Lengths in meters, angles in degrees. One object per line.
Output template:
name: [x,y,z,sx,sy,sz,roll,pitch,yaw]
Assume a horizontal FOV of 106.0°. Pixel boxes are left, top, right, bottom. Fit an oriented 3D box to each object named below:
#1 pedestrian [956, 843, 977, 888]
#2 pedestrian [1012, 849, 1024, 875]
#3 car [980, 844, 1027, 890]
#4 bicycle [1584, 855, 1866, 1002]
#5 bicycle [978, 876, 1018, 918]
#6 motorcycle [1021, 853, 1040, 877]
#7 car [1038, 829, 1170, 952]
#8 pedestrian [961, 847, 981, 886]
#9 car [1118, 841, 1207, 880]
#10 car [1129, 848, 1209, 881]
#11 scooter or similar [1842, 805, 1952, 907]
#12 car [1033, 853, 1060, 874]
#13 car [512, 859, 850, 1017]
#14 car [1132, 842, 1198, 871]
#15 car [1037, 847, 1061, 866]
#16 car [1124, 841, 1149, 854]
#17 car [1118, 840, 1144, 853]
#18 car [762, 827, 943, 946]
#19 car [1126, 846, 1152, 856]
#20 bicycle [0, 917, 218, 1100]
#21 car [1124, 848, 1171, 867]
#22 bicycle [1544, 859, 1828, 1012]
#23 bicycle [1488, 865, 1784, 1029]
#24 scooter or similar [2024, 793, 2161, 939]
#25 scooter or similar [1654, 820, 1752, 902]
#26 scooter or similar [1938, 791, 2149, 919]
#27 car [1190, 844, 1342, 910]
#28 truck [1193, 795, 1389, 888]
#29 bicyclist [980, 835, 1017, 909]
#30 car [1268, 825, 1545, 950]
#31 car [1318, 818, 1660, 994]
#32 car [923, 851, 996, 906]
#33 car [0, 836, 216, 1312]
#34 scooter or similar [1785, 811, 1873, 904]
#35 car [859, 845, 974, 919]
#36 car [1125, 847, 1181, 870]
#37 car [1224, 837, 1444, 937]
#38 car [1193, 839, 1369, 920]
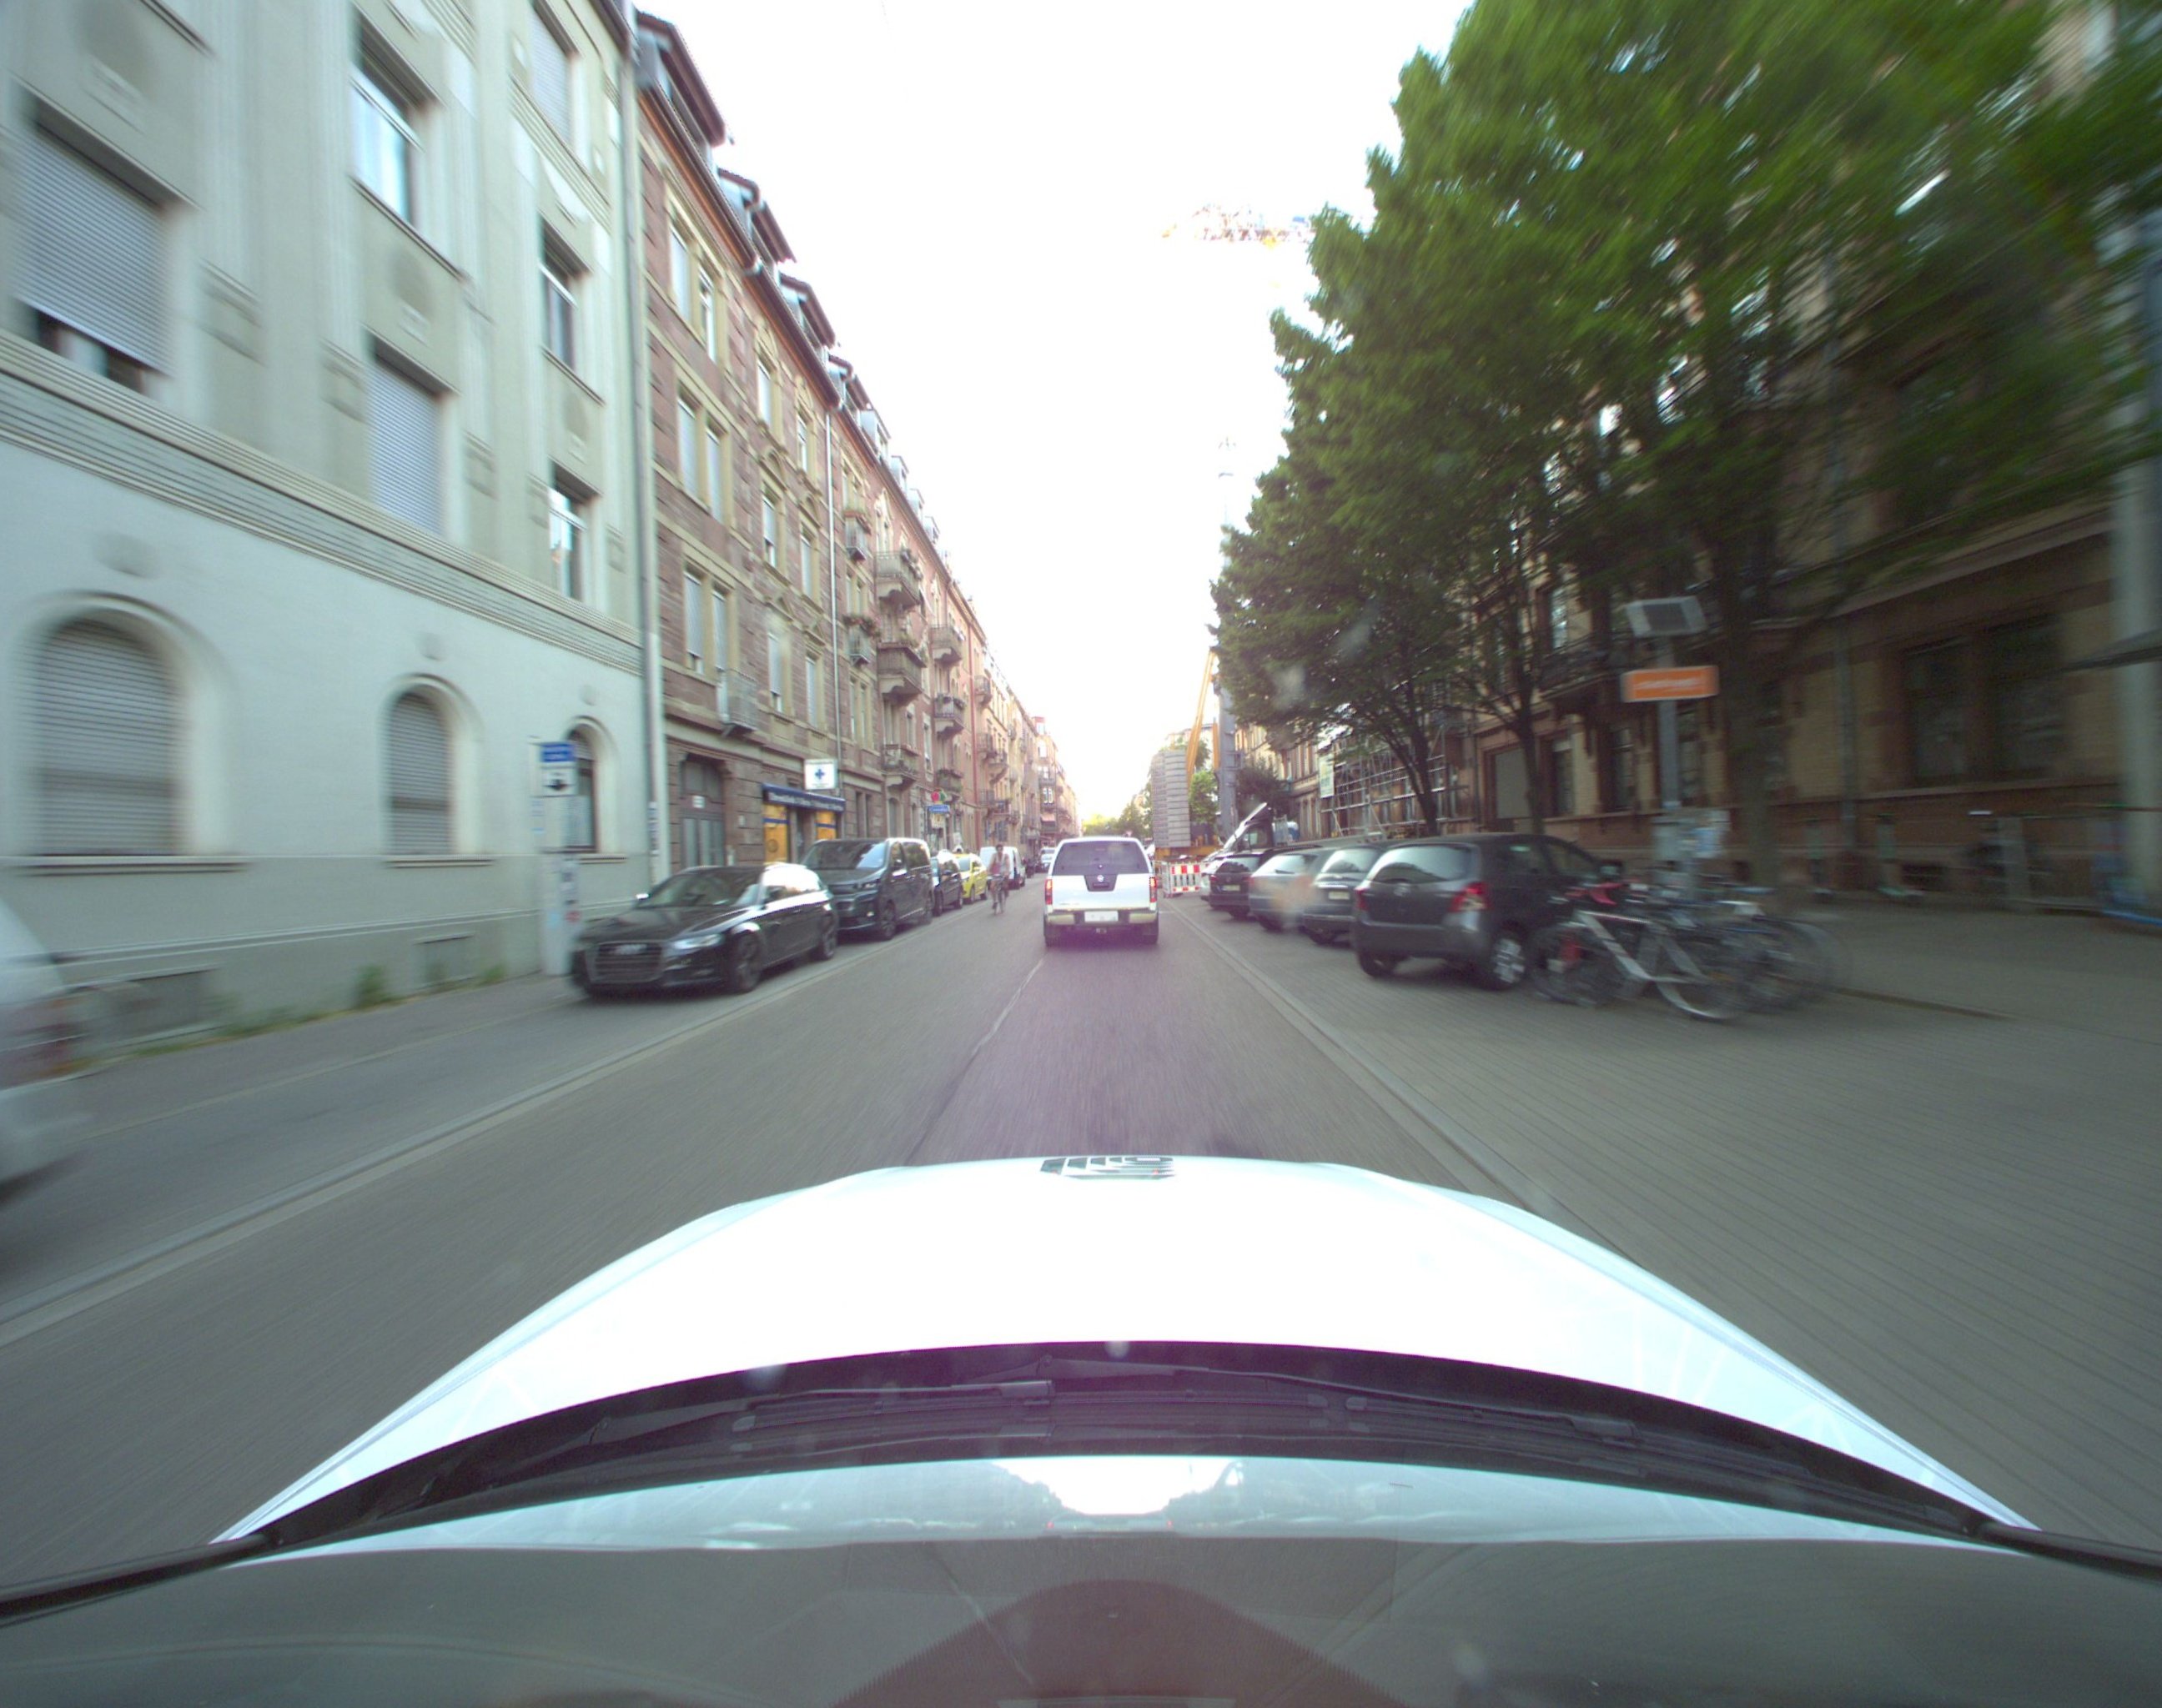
pedestrian: [-4.812,0.485,34.334,0.735,1.869,0.618,-1,0,0]
pedestrian: [-5.008,0.651,64.598,0.785,2.013,0.935,-1,0,1]
car: [-3.331,0.530,35.580,1.553,1.921,3.857,0,0,1]
bicycle: [5.551,0.605,7.174,0.560,1.107,1.841,-2,-2,-27]
bicycle: [-2.099,1.072,20.908,0.798,0.947,2.004,-2,0,0]
motorcycle: [-3.100,0.679,50.366,0.833,1.416,2.551,-2,0,3]
car: [0.404,0.546,14.541,1.926,1.794,4.623,-2,0,1]
pedestrian: [-5.370,0.601,39.759,0.611,1.869,0.744,-2,0,24]
car: [4.009,0.311,39.906,4.173,1.780,1.823,-2,0,7]
car: [4.701,0.557,43.753,4.176,1.622,1.822,-2,0,4]
scooter or similar: [10.610,0.007,10.647,0.365,1.218,1.714,-6,-1,25]
car: [-2.659,0.698,64.269,1.784,1.530,4.002,-2,0,2]
car: [-4.589,0.845,10.297,1.904,1.472,4.535,-1,0,2]
car: [5.536,0.133,53.922,4.176,1.780,1.822,-2,0,4]
car: [-2.747,0.182,70.378,1.703,1.530,4.002,-2,0,2]
car: [10.246,-1.199,151.131,4.567,2.177,1.822,-2,0,4]
car: [8.962,-1.391,147.002,4.567,2.177,1.822,-2,0,4]
car: [-4.201,0.526,15.935,1.897,1.925,4.950,-1,0,2]
car: [9.582,-0.512,134.780,4.176,1.622,1.822,-2,0,4]
bicycle: [-7.359,1.069,5.626,0.557,1.095,2.030,-1,0,2]
car: [5.984,0.325,73.589,4.176,1.622,1.822,-2,0,4]
bicycle: [5.020,0.631,6.928,0.560,1.107,1.841,-2,-2,-27]
bicycle: [4.379,0.679,6.608,0.696,1.107,1.841,-2,-2,-27]
scooter or similar: [9.486,0.094,7.157,0.464,1.217,1.782,-9,-2,13]
scooter or similar: [10.092,0.105,13.260,0.510,1.242,1.351,-3,0,0]
scooter or similar: [10.331,0.002,8.841,0.409,1.218,1.782,-6,-1,13]
car: [4.676,0.537,20.506,3.570,1.464,1.596,-2,0,-30]
truck: [7.225,-0.371,28.650,6.294,2.977,2.265,-2,-3,3]
bicyclist: [-2.100,0.447,20.866,0.798,1.849,0.943,-1,0,-1]
car: [5.026,0.443,12.582,3.843,1.530,1.748,-4,0,-24]
car: [4.556,0.446,9.054,3.418,1.474,1.758,-4,1,-30]
car: [-3.810,0.717,26.088,1.493,1.593,3.859,-2,0,3]
car: [-4.654,0.766,1.229,1.986,1.591,4.315,-2,0,1]
scooter or similar: [10.608,0.030,11.596,0.365,1.218,1.630,-6,-1,25]
car: [-4.155,0.656,21.295,1.897,1.663,4.071,-2,0,3]
car: [5.498,0.369,62.338,4.176,1.622,1.822,-2,0,4]
car: [4.690,0.531,14.946,3.852,1.436,1.744,-4,1,-33]
car: [4.402,0.485,17.655,3.912,1.530,1.619,-2,0,-38]
